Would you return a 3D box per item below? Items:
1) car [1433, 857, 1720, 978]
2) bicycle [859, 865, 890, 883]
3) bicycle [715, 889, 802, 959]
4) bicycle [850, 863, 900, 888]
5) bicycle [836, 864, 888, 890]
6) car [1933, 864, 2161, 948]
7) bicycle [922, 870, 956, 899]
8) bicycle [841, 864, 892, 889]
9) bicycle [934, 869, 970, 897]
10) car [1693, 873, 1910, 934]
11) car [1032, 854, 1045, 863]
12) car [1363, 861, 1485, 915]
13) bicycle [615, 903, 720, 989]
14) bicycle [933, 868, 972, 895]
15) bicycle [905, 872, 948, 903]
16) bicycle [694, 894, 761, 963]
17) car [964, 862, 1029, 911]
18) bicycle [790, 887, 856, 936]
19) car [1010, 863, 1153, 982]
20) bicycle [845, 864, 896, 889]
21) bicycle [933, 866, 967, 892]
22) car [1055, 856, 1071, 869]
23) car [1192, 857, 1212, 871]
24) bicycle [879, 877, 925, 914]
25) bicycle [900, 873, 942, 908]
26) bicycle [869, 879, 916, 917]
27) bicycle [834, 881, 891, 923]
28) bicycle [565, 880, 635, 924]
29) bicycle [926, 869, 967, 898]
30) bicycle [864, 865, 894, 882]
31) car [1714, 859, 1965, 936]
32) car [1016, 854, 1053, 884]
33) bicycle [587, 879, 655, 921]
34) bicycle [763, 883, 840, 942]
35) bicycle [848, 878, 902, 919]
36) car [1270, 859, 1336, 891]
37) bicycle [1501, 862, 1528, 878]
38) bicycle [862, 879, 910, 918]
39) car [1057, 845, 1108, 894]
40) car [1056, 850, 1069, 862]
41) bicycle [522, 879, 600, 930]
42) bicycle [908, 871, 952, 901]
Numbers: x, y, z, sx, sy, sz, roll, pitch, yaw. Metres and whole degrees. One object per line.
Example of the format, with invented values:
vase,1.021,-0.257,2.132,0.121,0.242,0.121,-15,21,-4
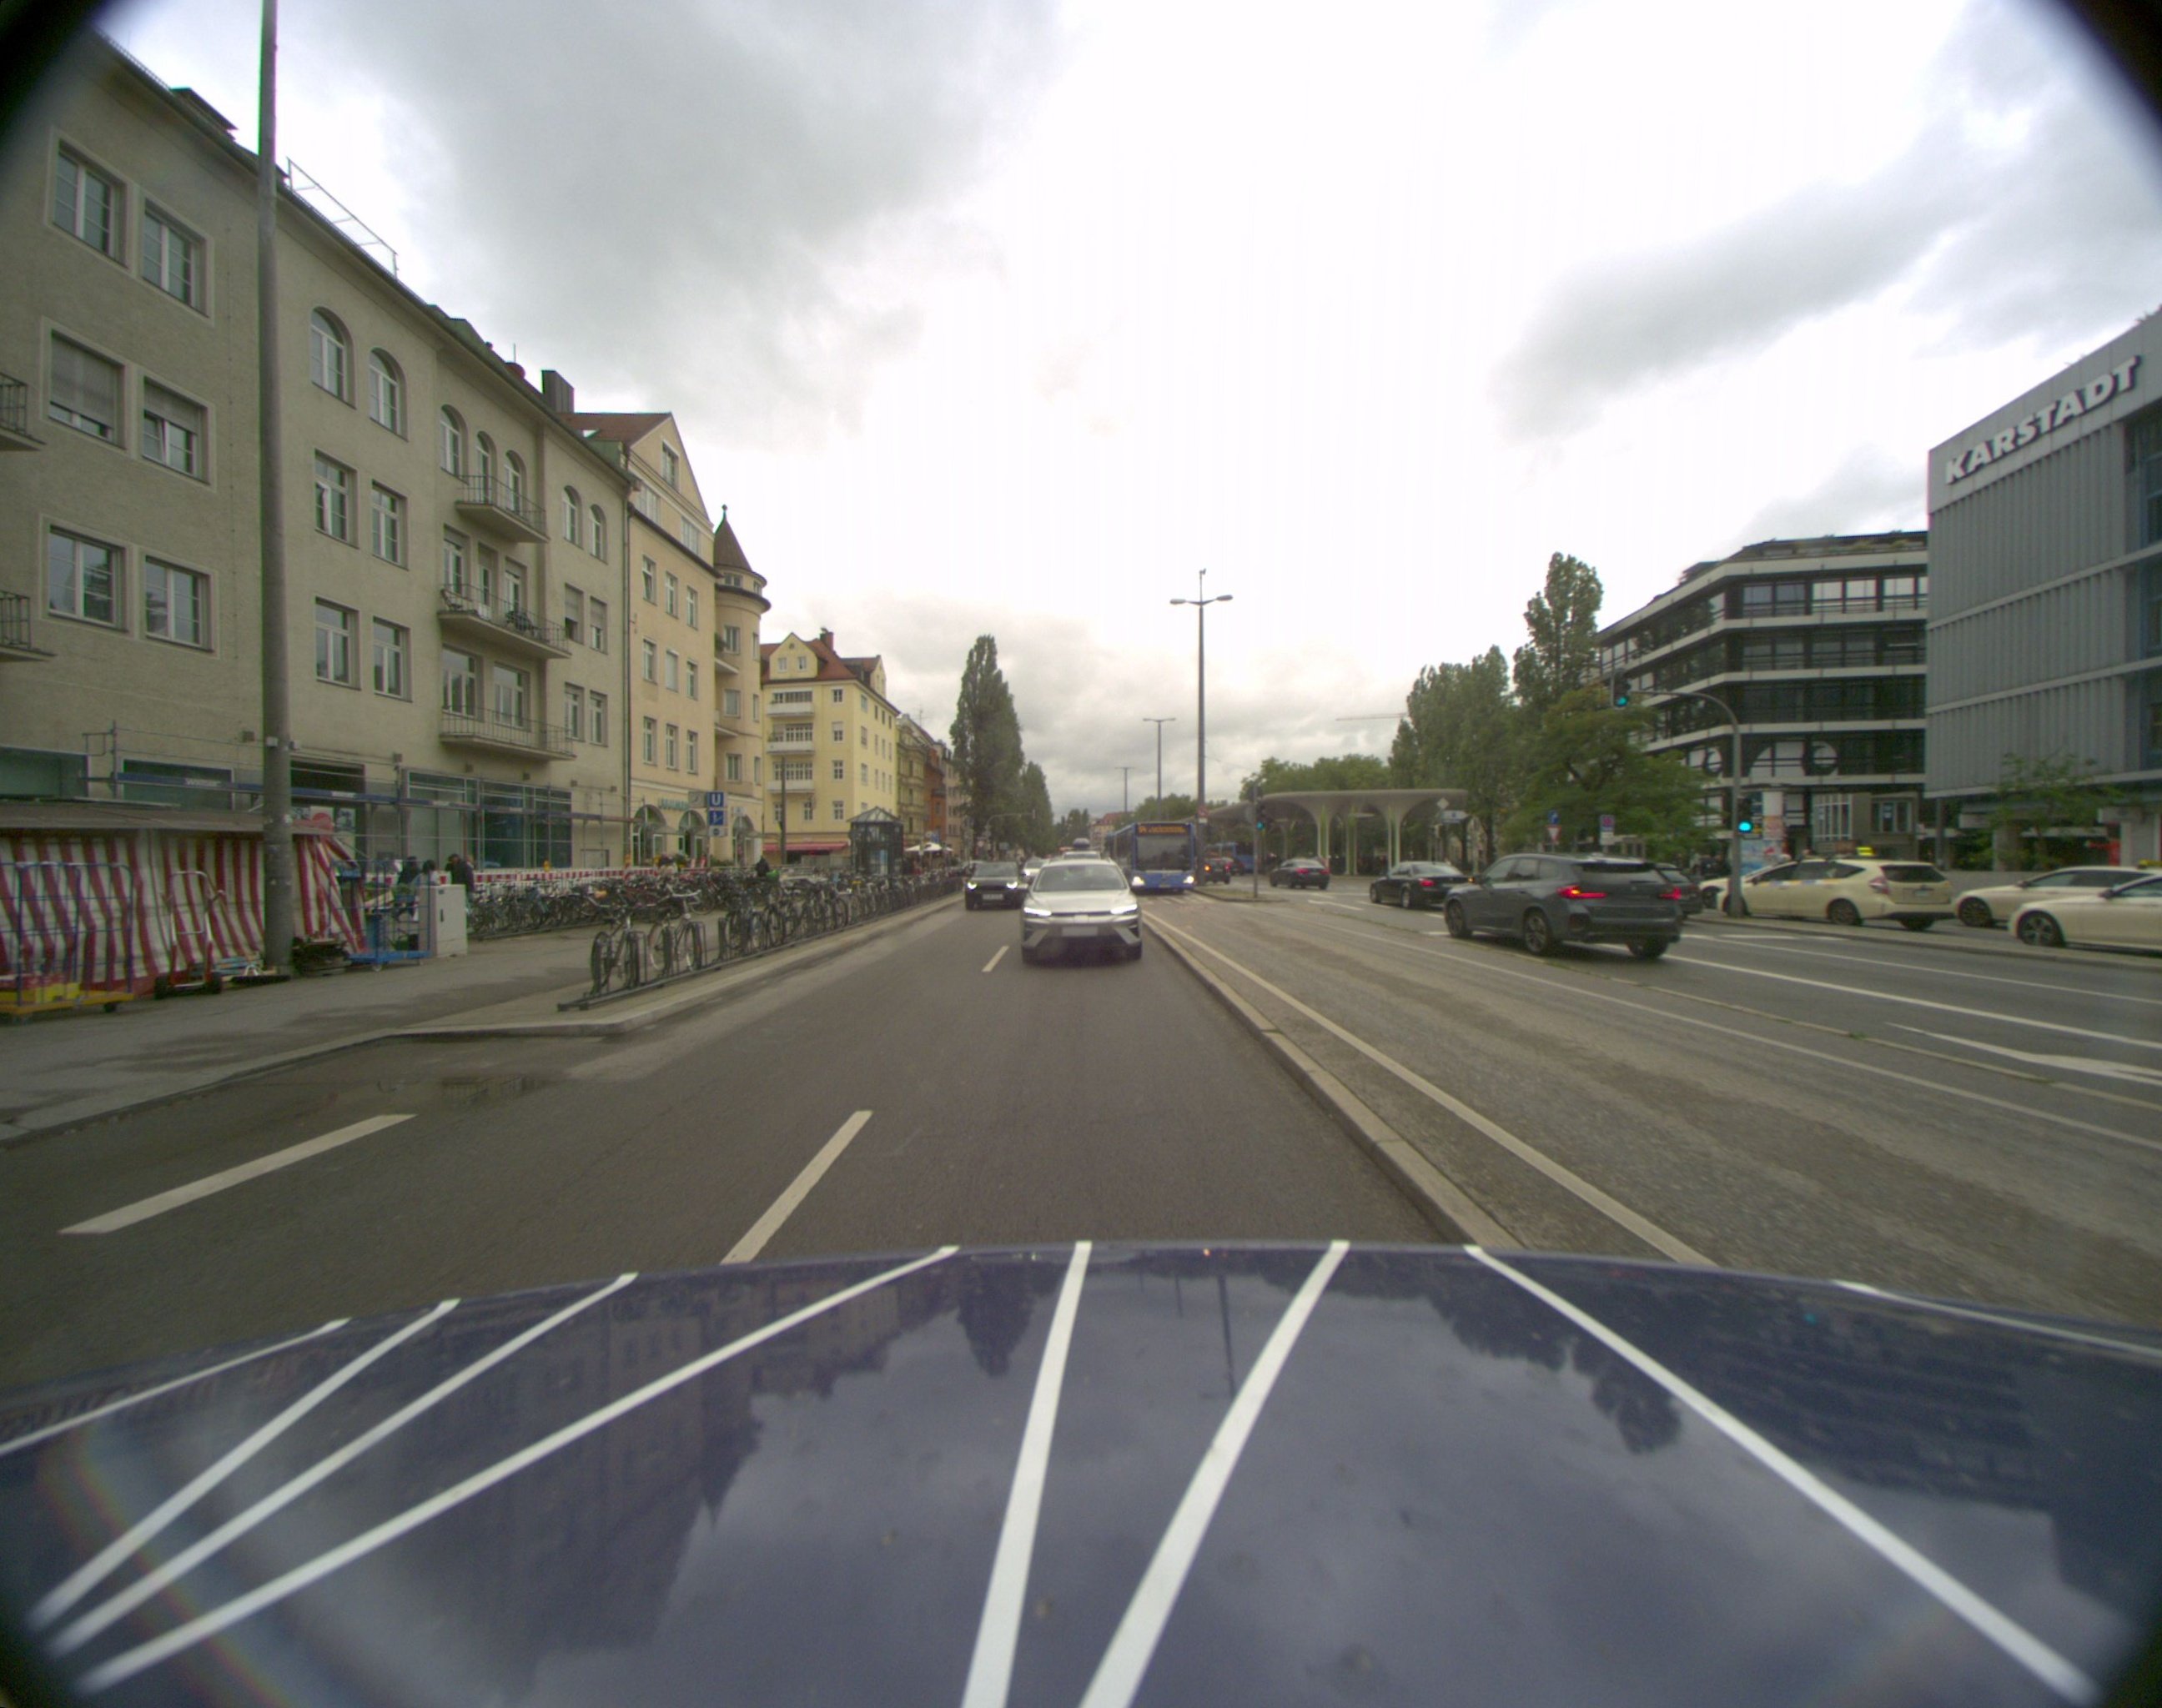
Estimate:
car,7.915,0.896,12.783,1.998,1.611,4.413,1,0,2
bicycle,-13.154,1.277,48.484,1.822,1.121,0.610,0,-1,13
bicycle,-5.570,1.202,13.076,1.797,1.098,0.548,-5,-1,39
bicycle,-10.420,1.090,38.454,2.317,1.220,0.628,0,0,3
bicycle,-10.507,1.113,36.439,2.317,1.220,0.628,0,0,3
car,21.582,1.013,16.426,1.911,1.558,4.001,0,0,2
bicycle,-5.677,1.214,30.379,1.521,1.130,0.349,-1,1,36
bicycle,-10.448,1.105,37.072,2.317,1.220,0.628,0,0,3
bicycle,-5.414,1.191,31.811,1.673,1.130,0.479,-1,1,40
car,20.809,1.350,22.231,1.860,1.502,4.293,0,0,-14
car,-7.898,0.901,141.321,1.998,1.630,4.000,0,0,0
car,10.616,0.993,23.960,1.840,1.478,4.735,0,0,2
bicycle,-5.664,1.232,10.352,1.797,1.048,0.548,-5,-1,38
bicycle,-5.512,1.185,32.610,1.780,1.130,0.479,-1,1,34
bicycle,-5.785,1.236,28.439,1.790,1.130,0.490,-1,1,38
bicycle,-5.855,1.213,12.527,0.368,1.048,1.797,-3,-2,-45
car,-2.727,1.020,25.306,1.740,1.461,4.050,-1,0,-1
bicycle,-5.648,1.275,16.579,1.797,1.004,0.387,-5,-1,39
car,0.049,0.957,12.299,1.896,1.483,4.000,-2,1,1
bicycle,-10.442,1.098,37.736,2.317,1.220,0.628,0,0,3
bicycle,-5.869,1.122,33.911,1.848,1.053,0.398,-5,-2,43
car,-2.233,1.005,93.913,1.999,1.630,3.999,0,0,-2
car,13.092,1.029,82.200,1.674,1.506,2.746,0,0,-2
bicycle,-5.392,1.266,22.822,0.398,1.053,1.848,-3,-2,-45
bicycle,-5.573,1.252,26.397,1.790,1.130,0.490,-1,1,44
bicycle,-5.580,1.308,22.417,0.398,1.053,1.848,-3,-2,-45
bicycle,-5.637,1.245,19.507,1.797,1.004,0.387,-5,-1,39
bicycle,-12.069,1.200,19.088,1.453,1.071,0.410,1,1,-9
bicycle,-5.481,1.201,30.961,1.674,1.130,0.479,-1,1,30
bicycle,-13.060,1.268,49.132,1.822,1.121,0.610,0,-1,13
car,17.970,0.934,18.376,1.591,1.602,4.476,0,0,0
car,-2.881,0.909,47.742,1.998,1.740,3.999,-2,1,0
bicycle,-11.918,1.189,19.720,1.453,1.071,0.410,1,1,-9
bicycle,-5.610,1.180,15.214,1.797,1.098,0.548,-5,-1,39
bicycle,-5.675,1.232,20.895,1.797,1.053,0.398,-5,-1,39
car,11.411,1.036,39.484,1.998,1.499,5.021,0,0,0
bicycle,30.544,1.136,53.524,0.473,1.091,1.672,0,0,-24
bicycle,-5.568,1.283,21.615,0.398,1.053,1.848,-3,-2,-45
car,0.094,0.604,32.588,1.998,1.889,4.235,-2,1,0
car,-2.801,0.266,114.170,1.859,1.696,3.999,1,0,-1
bicycle,-11.891,1.152,17.394,1.631,1.097,0.410,1,1,9
bicycle,-5.915,1.227,29.683,1.790,1.130,0.591,-1,1,36
